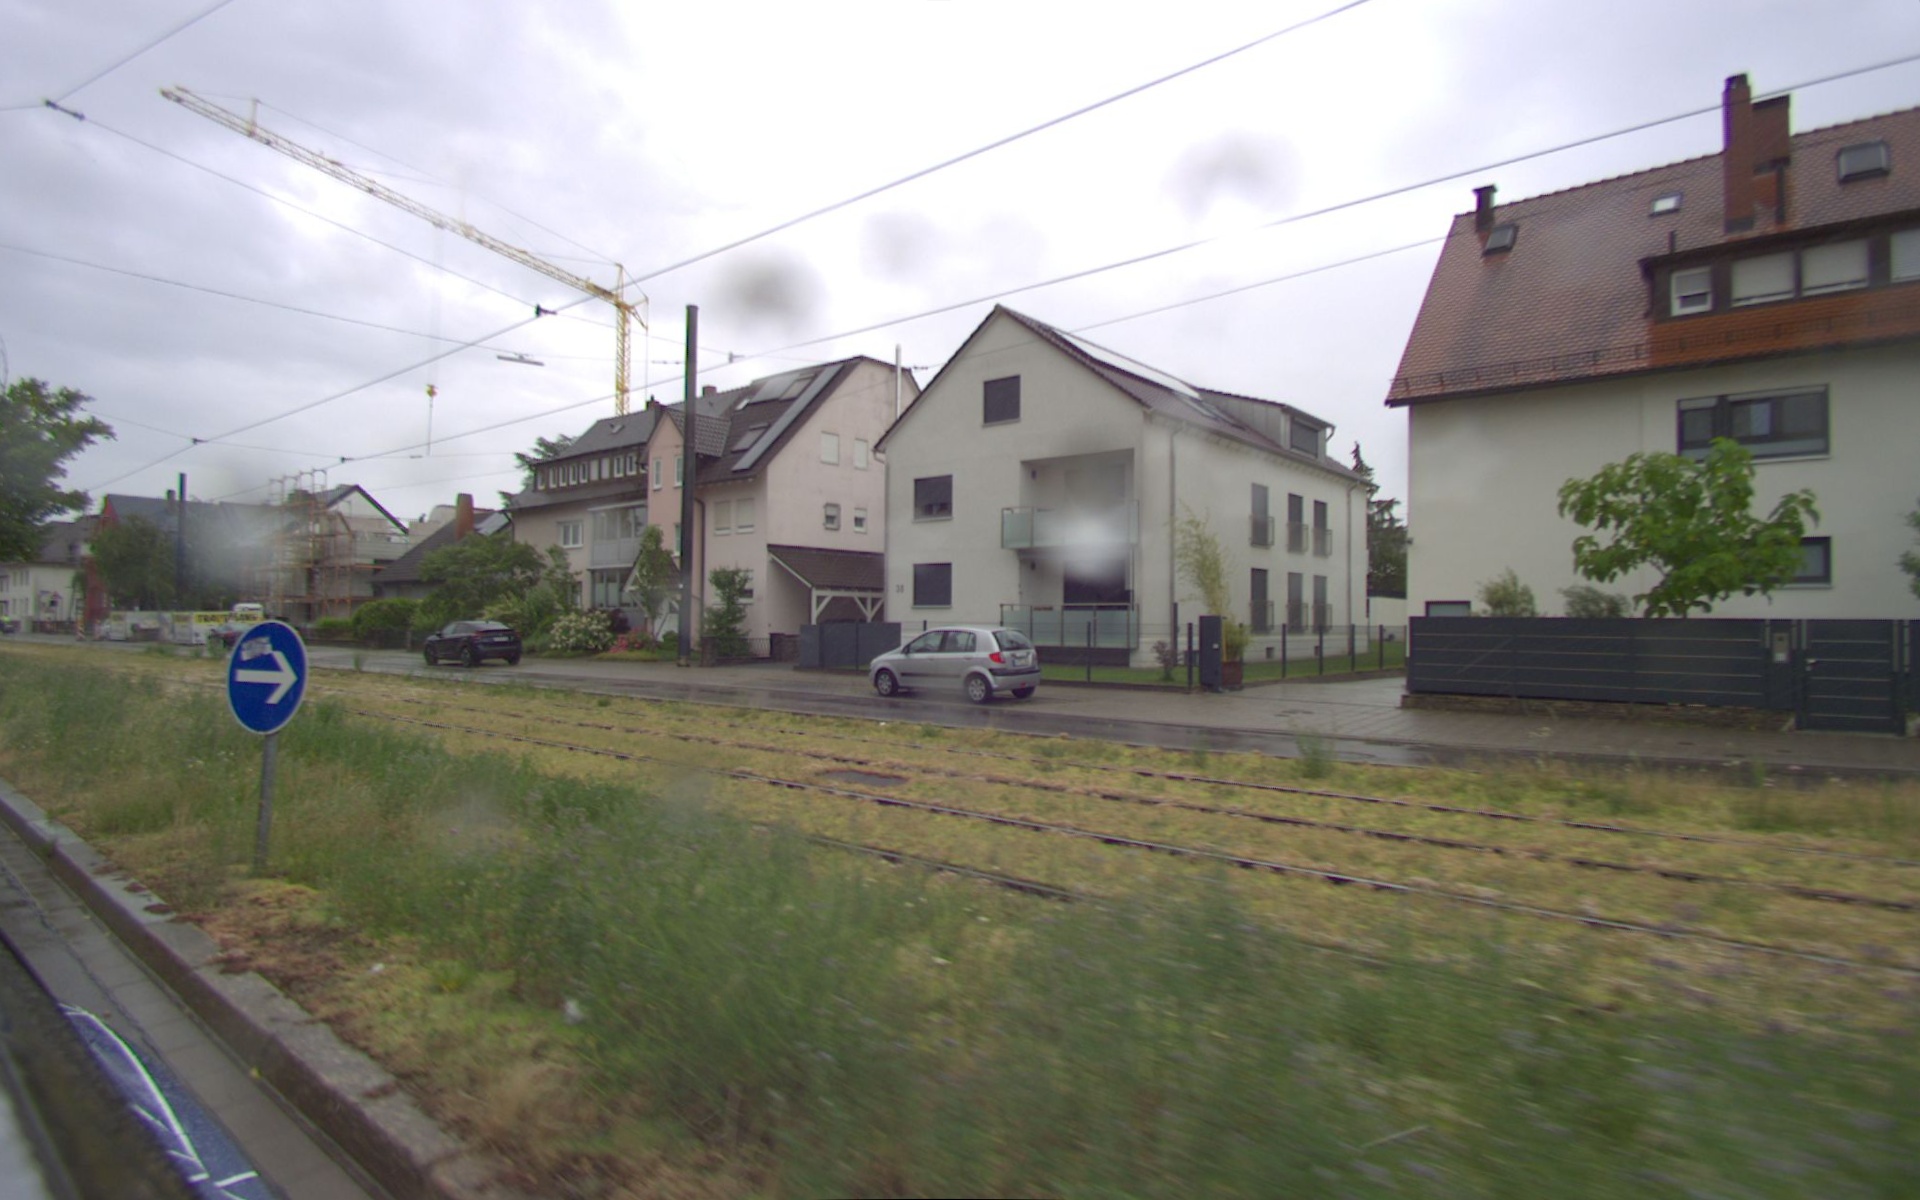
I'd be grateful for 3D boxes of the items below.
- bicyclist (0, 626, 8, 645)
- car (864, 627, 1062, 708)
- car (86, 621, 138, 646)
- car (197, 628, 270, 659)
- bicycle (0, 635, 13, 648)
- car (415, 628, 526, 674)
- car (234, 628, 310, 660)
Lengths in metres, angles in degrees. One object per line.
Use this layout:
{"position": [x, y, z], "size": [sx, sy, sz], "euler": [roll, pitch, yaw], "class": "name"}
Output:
{"position": [-84.295, 3.123, 88.829], "size": [1.399, 1.596, 0.944], "euler": [0, -1, 39], "class": "bicyclist"}
{"position": [0.023, 1.306, 20.753], "size": [3.654, 1.424, 1.974], "euler": [0, -1, 39], "class": "car"}
{"position": [-59.793, 2.320, 71.336], "size": [4.244, 1.640, 1.975], "euler": [0, -1, 37], "class": "car"}
{"position": [-36.742, 2.200, 51.143], "size": [4.169, 1.420, 1.974], "euler": [-3, -2, 39], "class": "car"}
{"position": [-83.783, 3.637, 88.438], "size": [3.429, 1.051, 0.925], "euler": [-1, -3, 38], "class": "bicycle"}
{"position": [-16.743, 1.724, 34.540], "size": [4.169, 1.437, 1.819], "euler": [-2, -2, 39], "class": "car"}
{"position": [-32.692, 2.044, 48.048], "size": [3.839, 1.383, 1.974], "euler": [0, -1, 39], "class": "car"}
